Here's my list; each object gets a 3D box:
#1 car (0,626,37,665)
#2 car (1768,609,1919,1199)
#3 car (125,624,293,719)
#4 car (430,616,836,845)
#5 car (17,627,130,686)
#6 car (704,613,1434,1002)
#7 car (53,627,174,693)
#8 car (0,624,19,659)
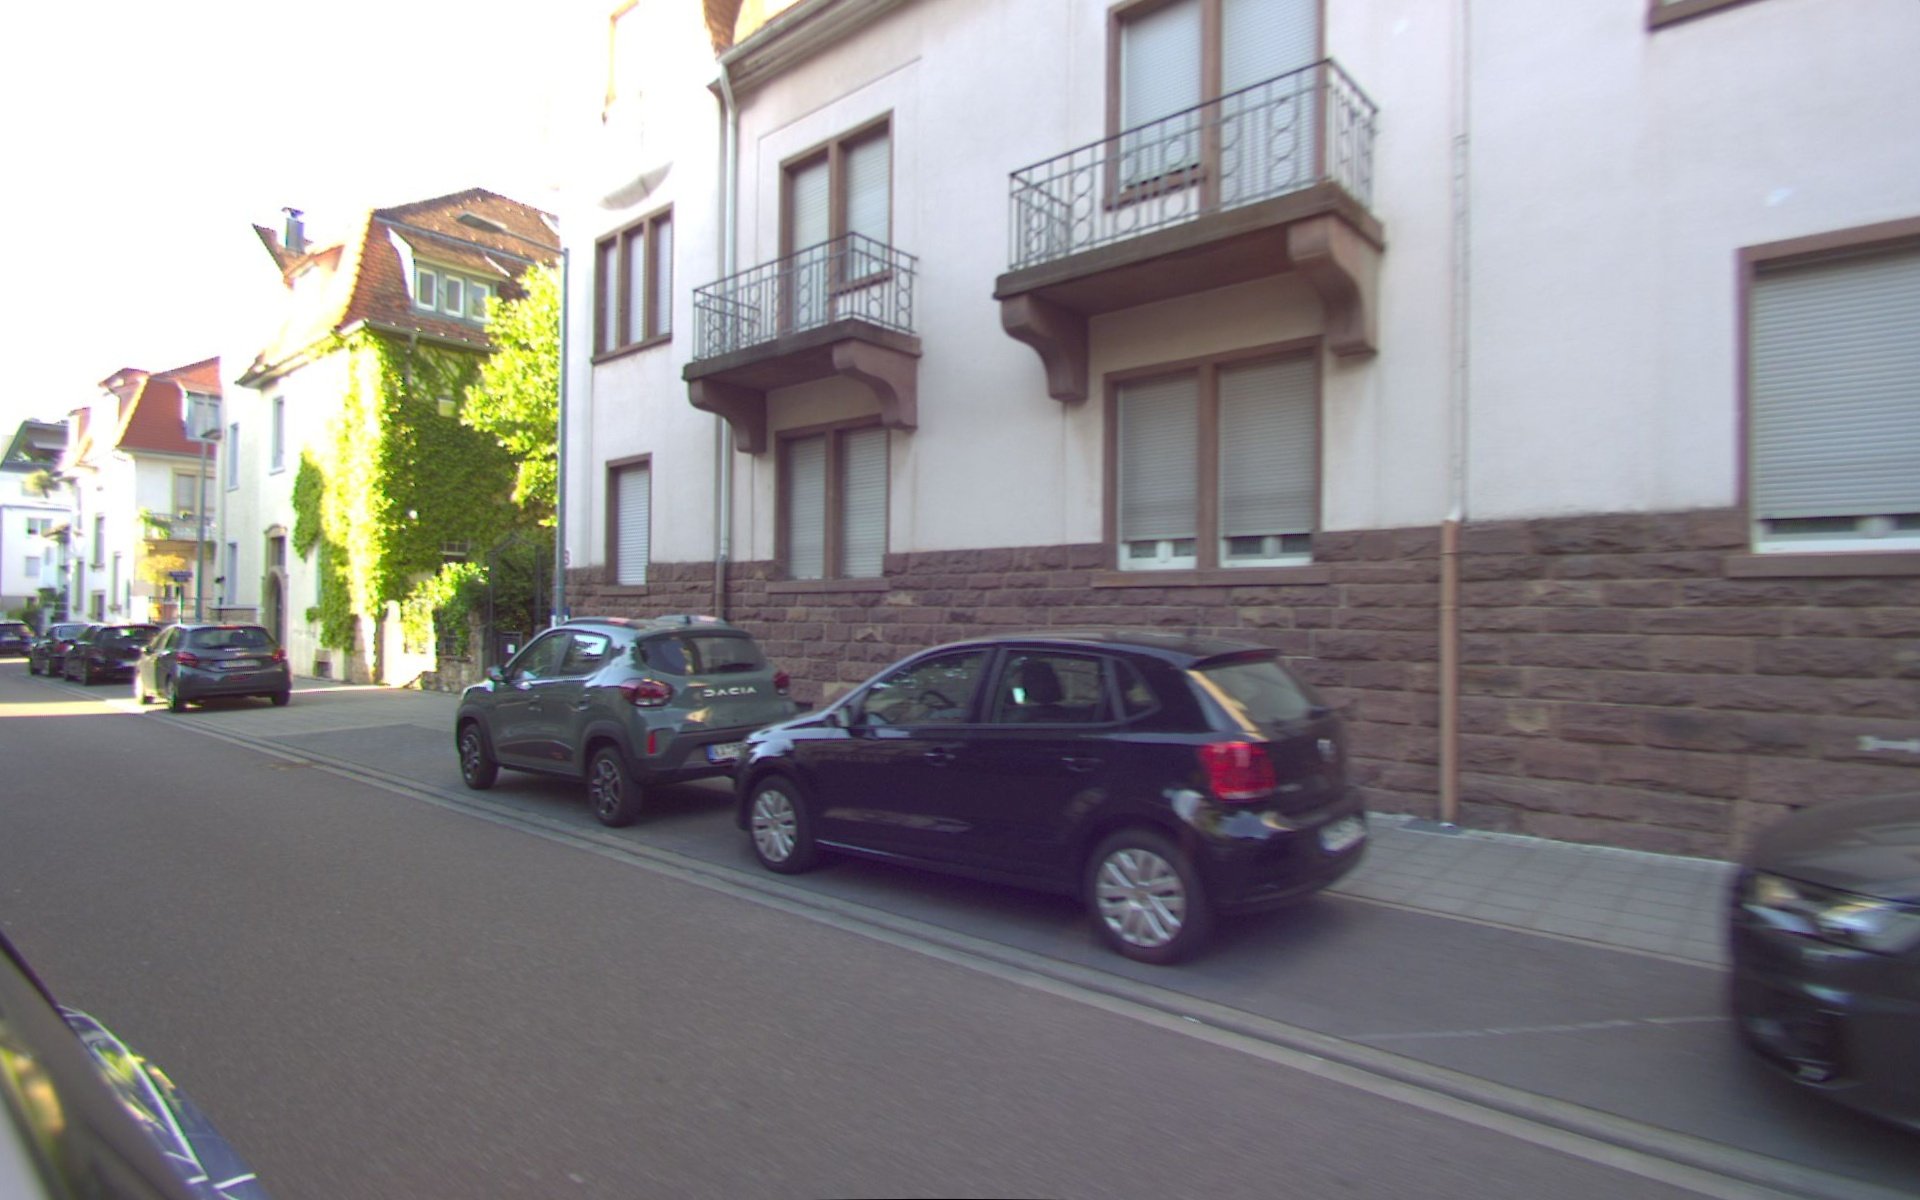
[{"bbox_3d":[-38.364,1.792,40.529,4.629,1.465,1.636,-1,-1,42],"label":"car"},{"bbox_3d":[4.579,0.746,1.887,4.772,1.472,1.775,-1,-1,39],"label":"car"},{"bbox_3d":[-13.390,1.171,17.961,4.004,1.458,1.636,-1,-1,42],"label":"car"},{"bbox_3d":[-2.919,0.907,8.634,3.763,1.497,1.636,-1,-1,42],"label":"car"},{"bbox_3d":[-24.824,1.515,28.279,4.629,1.481,1.692,-1,-1,40],"label":"car"},{"bbox_3d":[0.401,0.826,5.720,3.840,1.458,1.637,-1,-1,39],"label":"car"},{"bbox_3d":[-20.770,1.397,24.777,4.165,1.426,1.636,-1,-1,41],"label":"car"},{"bbox_3d":[-42.597,1.809,44.250,3.701,1.488,1.566,-1,-1,38],"label":"car"}]
